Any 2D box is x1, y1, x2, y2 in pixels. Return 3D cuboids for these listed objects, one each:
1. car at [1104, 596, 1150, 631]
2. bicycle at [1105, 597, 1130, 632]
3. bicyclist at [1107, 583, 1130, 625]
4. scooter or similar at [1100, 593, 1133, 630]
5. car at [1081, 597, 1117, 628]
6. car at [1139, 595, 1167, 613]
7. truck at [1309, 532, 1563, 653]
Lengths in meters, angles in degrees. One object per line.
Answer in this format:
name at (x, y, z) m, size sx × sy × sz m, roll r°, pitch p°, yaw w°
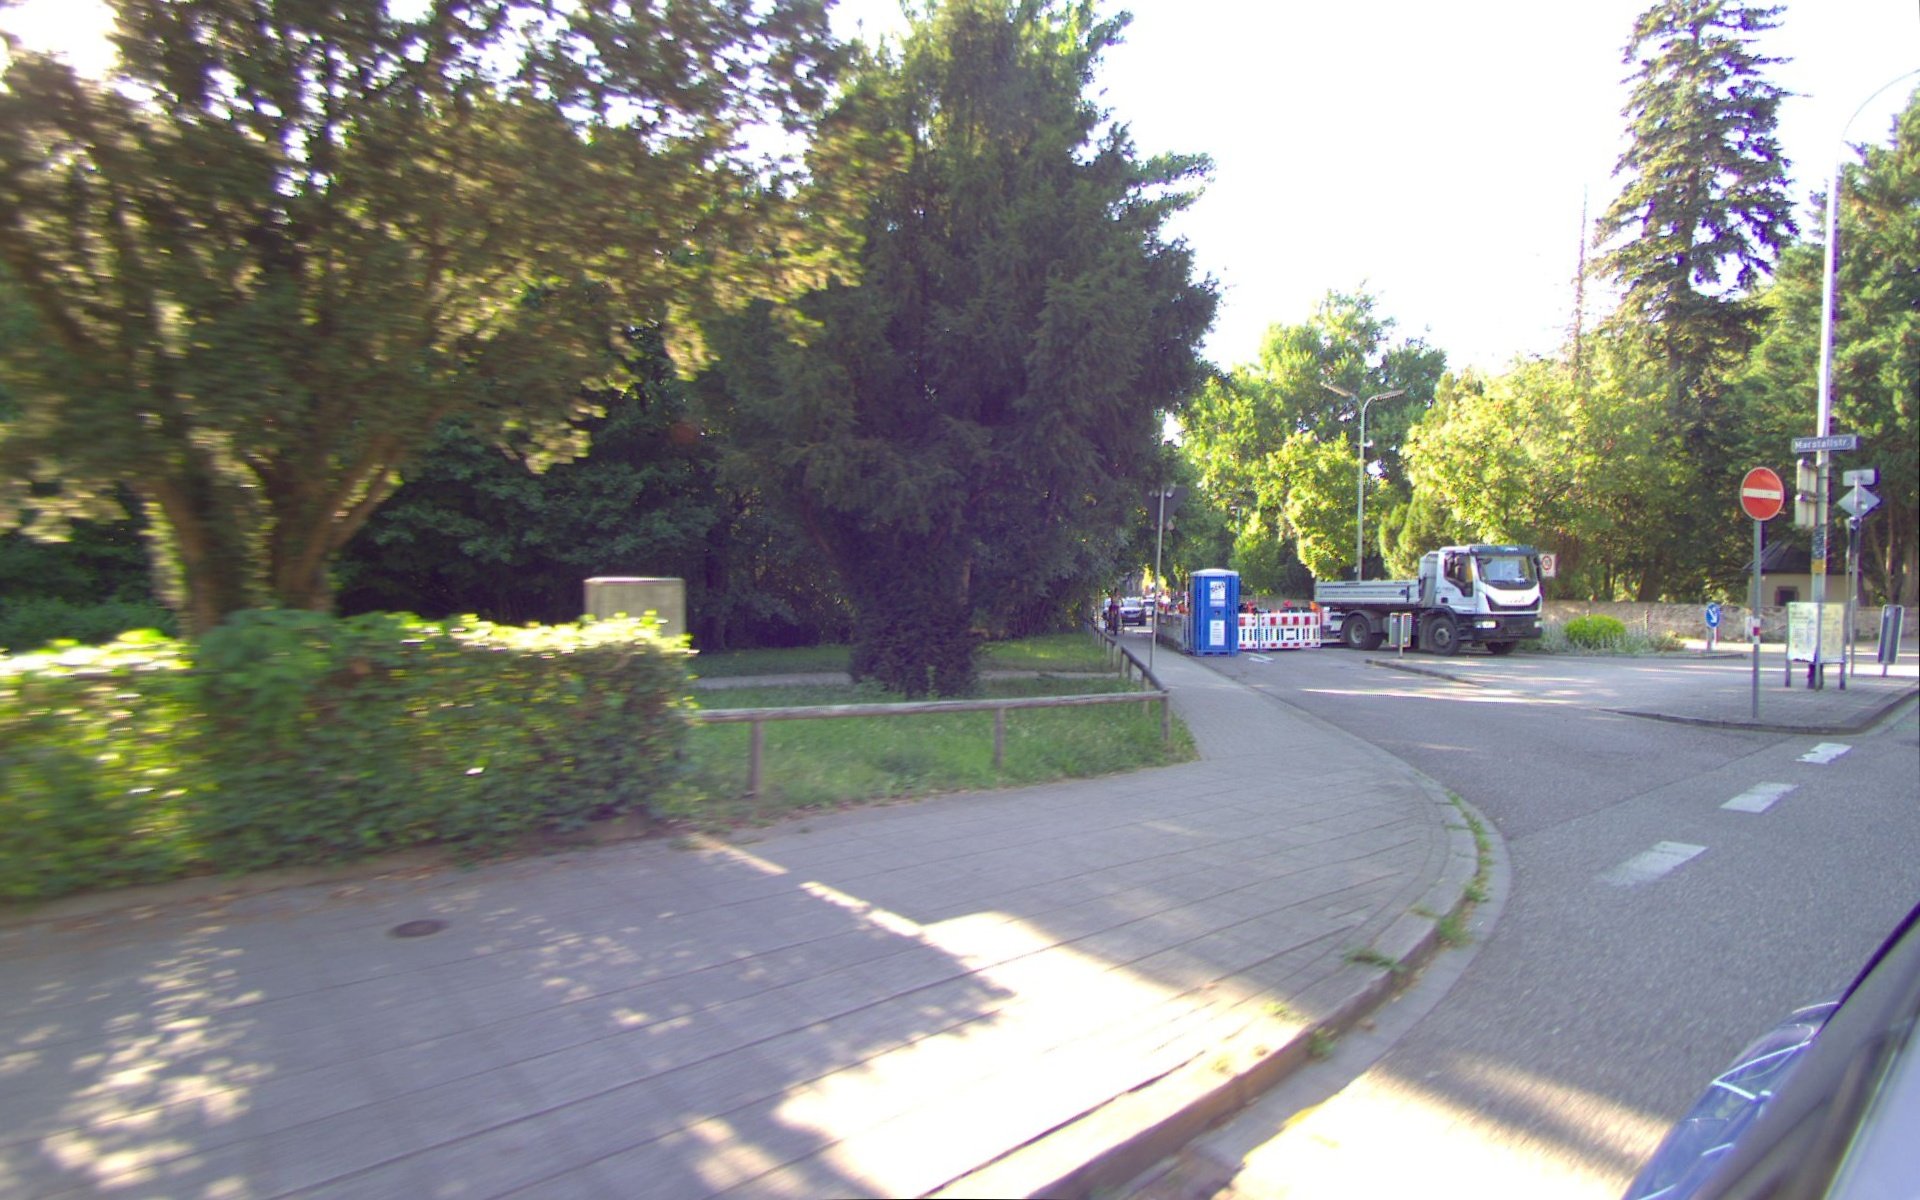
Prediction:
car at (10.110, 0.761, 61.611) m, size 1.961 × 2.039 × 4.002 m, roll 0°, pitch 0°, yaw -2°
bicycle at (5.992, 0.531, 38.559) m, size 0.750 × 1.222 × 2.836 m, roll 4°, pitch 1°, yaw 7°
bicyclist at (6.002, 0.147, 38.397) m, size 0.747 × 1.504 × 0.643 m, roll 4°, pitch 0°, yaw 8°
scooter or similar at (6.247, 0.453, 40.471) m, size 1.135 × 1.341 × 1.179 m, roll 6°, pitch 1°, yaw 8°
car at (9.541, 0.849, 69.726) m, size 1.962 × 2.039 × 3.999 m, roll 0°, pitch 0°, yaw 0°
car at (17.424, 0.354, 91.623) m, size 1.803 × 1.542 × 3.913 m, roll 0°, pitch 0°, yaw 0°
truck at (12.873, -0.171, 28.107) m, size 2.382 × 2.932 × 6.621 m, roll 0°, pitch 0°, yaw -20°
